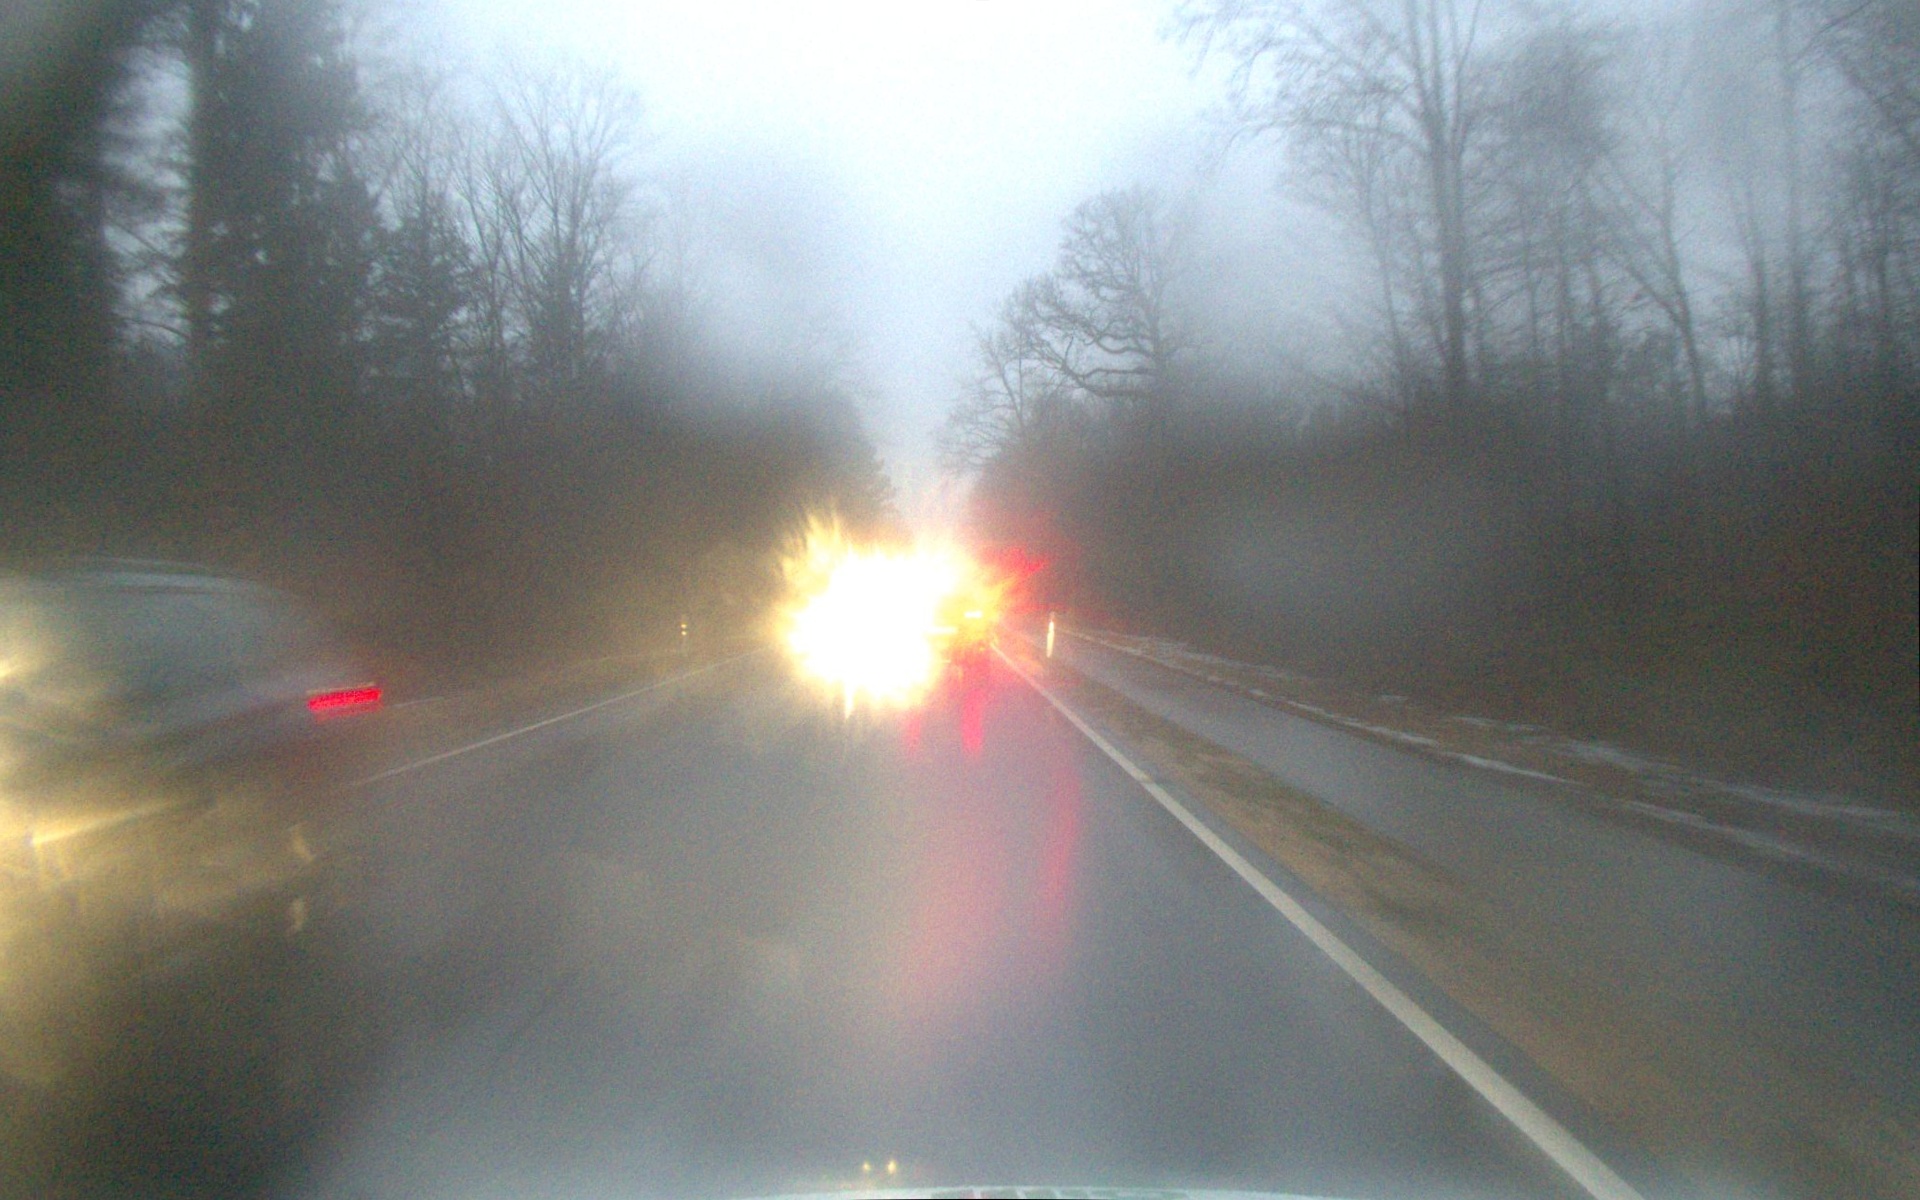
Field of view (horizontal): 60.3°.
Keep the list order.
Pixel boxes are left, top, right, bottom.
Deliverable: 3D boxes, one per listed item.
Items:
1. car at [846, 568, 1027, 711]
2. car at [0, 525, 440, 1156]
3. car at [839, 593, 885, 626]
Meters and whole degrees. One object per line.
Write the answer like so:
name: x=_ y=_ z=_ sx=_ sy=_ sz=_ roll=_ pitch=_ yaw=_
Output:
car: x=-0.402 y=0.697 z=32.026 sx=3.118 sy=2.428 sz=6.636 roll=1 pitch=0 yaw=0
car: x=-3.486 y=0.650 z=5.834 sx=1.785 sy=1.677 sz=4.749 roll=-2 pitch=1 yaw=-1
car: x=-5.022 y=0.446 z=85.496 sx=1.934 sy=1.595 sz=4.928 roll=-1 pitch=0 yaw=1
